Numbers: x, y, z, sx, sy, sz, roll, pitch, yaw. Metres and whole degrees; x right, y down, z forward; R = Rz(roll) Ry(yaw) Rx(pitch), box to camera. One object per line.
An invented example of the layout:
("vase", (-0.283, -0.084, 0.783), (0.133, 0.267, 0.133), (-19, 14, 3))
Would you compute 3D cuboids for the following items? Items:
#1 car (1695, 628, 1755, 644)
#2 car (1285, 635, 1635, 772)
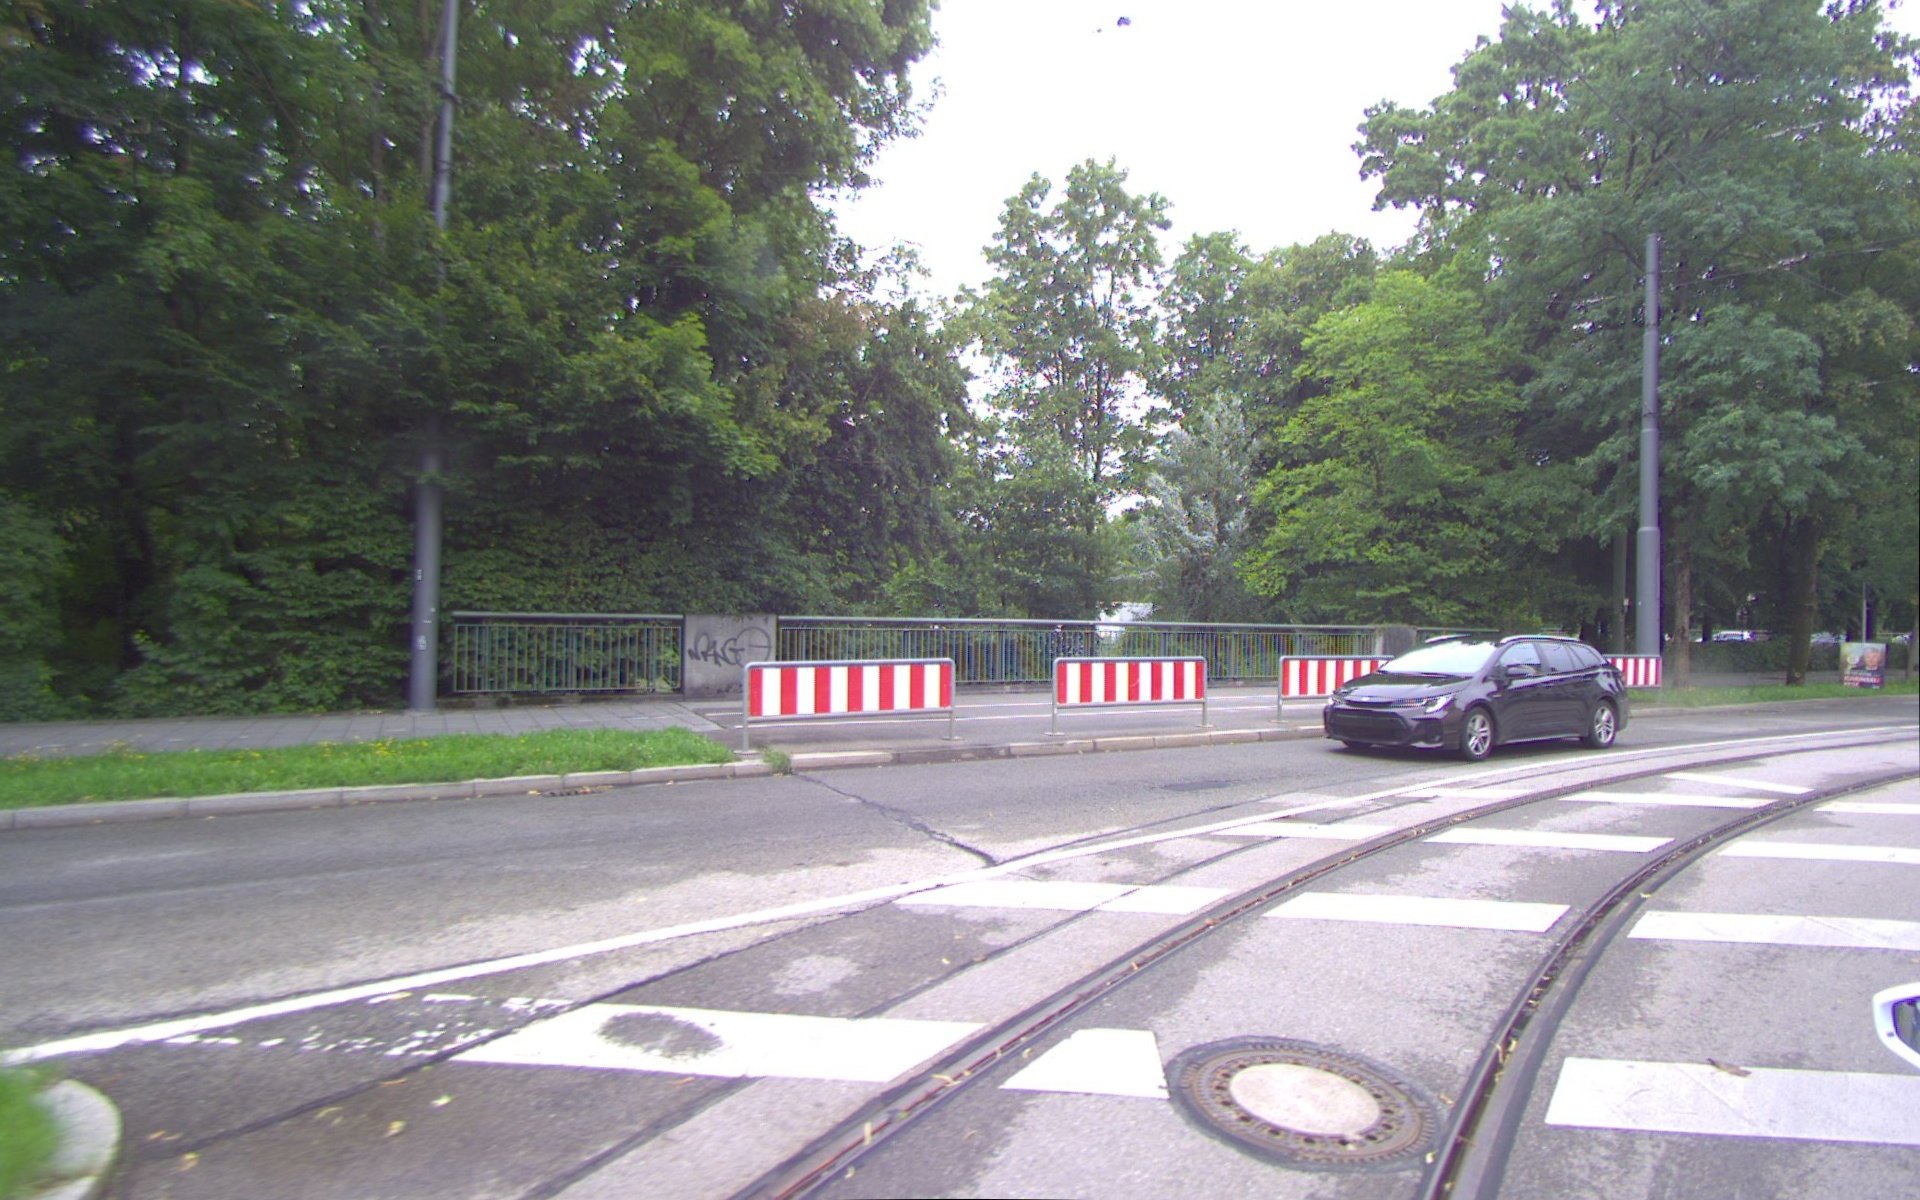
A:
("car", (62.127, 2.916, 81.616), (1.237, 1.201, 3.707), (2, 0, -32))
("car", (6.293, 1.162, 12.456), (4.786, 1.407, 1.615), (1, -3, -32))
